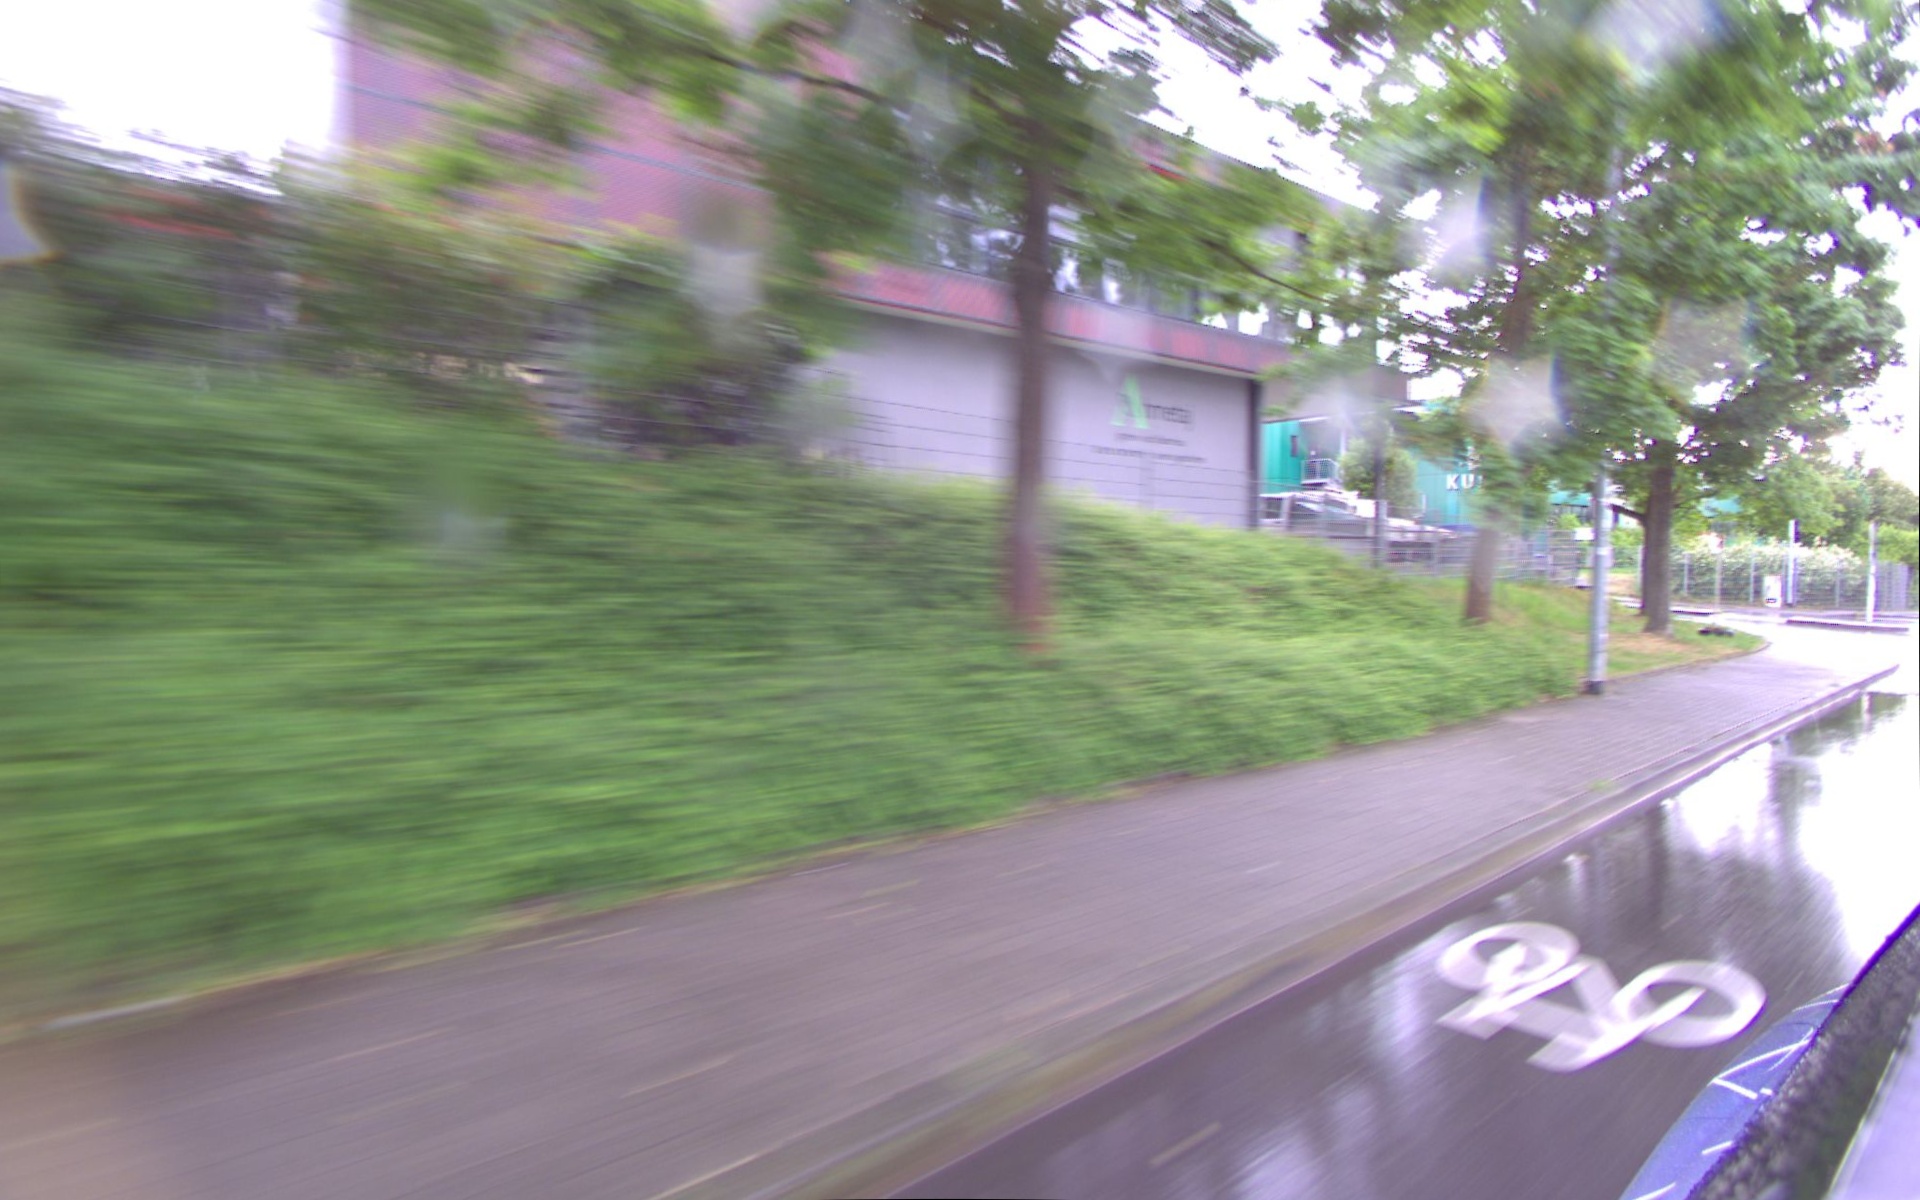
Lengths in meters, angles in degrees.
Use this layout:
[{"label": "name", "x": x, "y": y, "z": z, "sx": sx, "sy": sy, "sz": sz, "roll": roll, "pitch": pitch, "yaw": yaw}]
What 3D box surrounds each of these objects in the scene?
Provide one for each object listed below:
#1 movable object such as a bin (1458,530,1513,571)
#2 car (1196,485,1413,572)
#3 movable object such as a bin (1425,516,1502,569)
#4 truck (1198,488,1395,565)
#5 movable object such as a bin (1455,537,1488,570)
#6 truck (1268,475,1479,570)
[{"label": "movable object such as a bin", "x": 14.039, "y": -1.322, "z": 27.033, "sx": 1.034, "sy": 1.055, "sz": 0.884, "roll": 0, "pitch": 5, "yaw": -39}, {"label": "car", "x": 8.875, "y": -1.917, "z": 26.466, "sx": 2.027, "sy": 2.037, "sz": 4.934, "roll": -1, "pitch": 5, "yaw": -41}, {"label": "movable object such as a bin", "x": 15.482, "y": -1.768, "z": 31.119, "sx": 1.848, "sy": 1.518, "sz": 1.294, "roll": 5, "pitch": 5, "yaw": 36}, {"label": "truck", "x": 10.769, "y": -2.426, "z": 32.779, "sx": 5.639, "sy": 2.240, "sz": 2.079, "roll": 7, "pitch": 5, "yaw": 44}, {"label": "movable object such as a bin", "x": 13.313, "y": -1.215, "z": 26.328, "sx": 0.556, "sy": 0.827, "sz": 0.539, "roll": 0, "pitch": 5, "yaw": -40}, {"label": "truck", "x": 11.375, "y": -2.203, "z": 28.112, "sx": 2.213, "sy": 2.369, "sz": 4.830, "roll": -1, "pitch": 6, "yaw": -43}]
